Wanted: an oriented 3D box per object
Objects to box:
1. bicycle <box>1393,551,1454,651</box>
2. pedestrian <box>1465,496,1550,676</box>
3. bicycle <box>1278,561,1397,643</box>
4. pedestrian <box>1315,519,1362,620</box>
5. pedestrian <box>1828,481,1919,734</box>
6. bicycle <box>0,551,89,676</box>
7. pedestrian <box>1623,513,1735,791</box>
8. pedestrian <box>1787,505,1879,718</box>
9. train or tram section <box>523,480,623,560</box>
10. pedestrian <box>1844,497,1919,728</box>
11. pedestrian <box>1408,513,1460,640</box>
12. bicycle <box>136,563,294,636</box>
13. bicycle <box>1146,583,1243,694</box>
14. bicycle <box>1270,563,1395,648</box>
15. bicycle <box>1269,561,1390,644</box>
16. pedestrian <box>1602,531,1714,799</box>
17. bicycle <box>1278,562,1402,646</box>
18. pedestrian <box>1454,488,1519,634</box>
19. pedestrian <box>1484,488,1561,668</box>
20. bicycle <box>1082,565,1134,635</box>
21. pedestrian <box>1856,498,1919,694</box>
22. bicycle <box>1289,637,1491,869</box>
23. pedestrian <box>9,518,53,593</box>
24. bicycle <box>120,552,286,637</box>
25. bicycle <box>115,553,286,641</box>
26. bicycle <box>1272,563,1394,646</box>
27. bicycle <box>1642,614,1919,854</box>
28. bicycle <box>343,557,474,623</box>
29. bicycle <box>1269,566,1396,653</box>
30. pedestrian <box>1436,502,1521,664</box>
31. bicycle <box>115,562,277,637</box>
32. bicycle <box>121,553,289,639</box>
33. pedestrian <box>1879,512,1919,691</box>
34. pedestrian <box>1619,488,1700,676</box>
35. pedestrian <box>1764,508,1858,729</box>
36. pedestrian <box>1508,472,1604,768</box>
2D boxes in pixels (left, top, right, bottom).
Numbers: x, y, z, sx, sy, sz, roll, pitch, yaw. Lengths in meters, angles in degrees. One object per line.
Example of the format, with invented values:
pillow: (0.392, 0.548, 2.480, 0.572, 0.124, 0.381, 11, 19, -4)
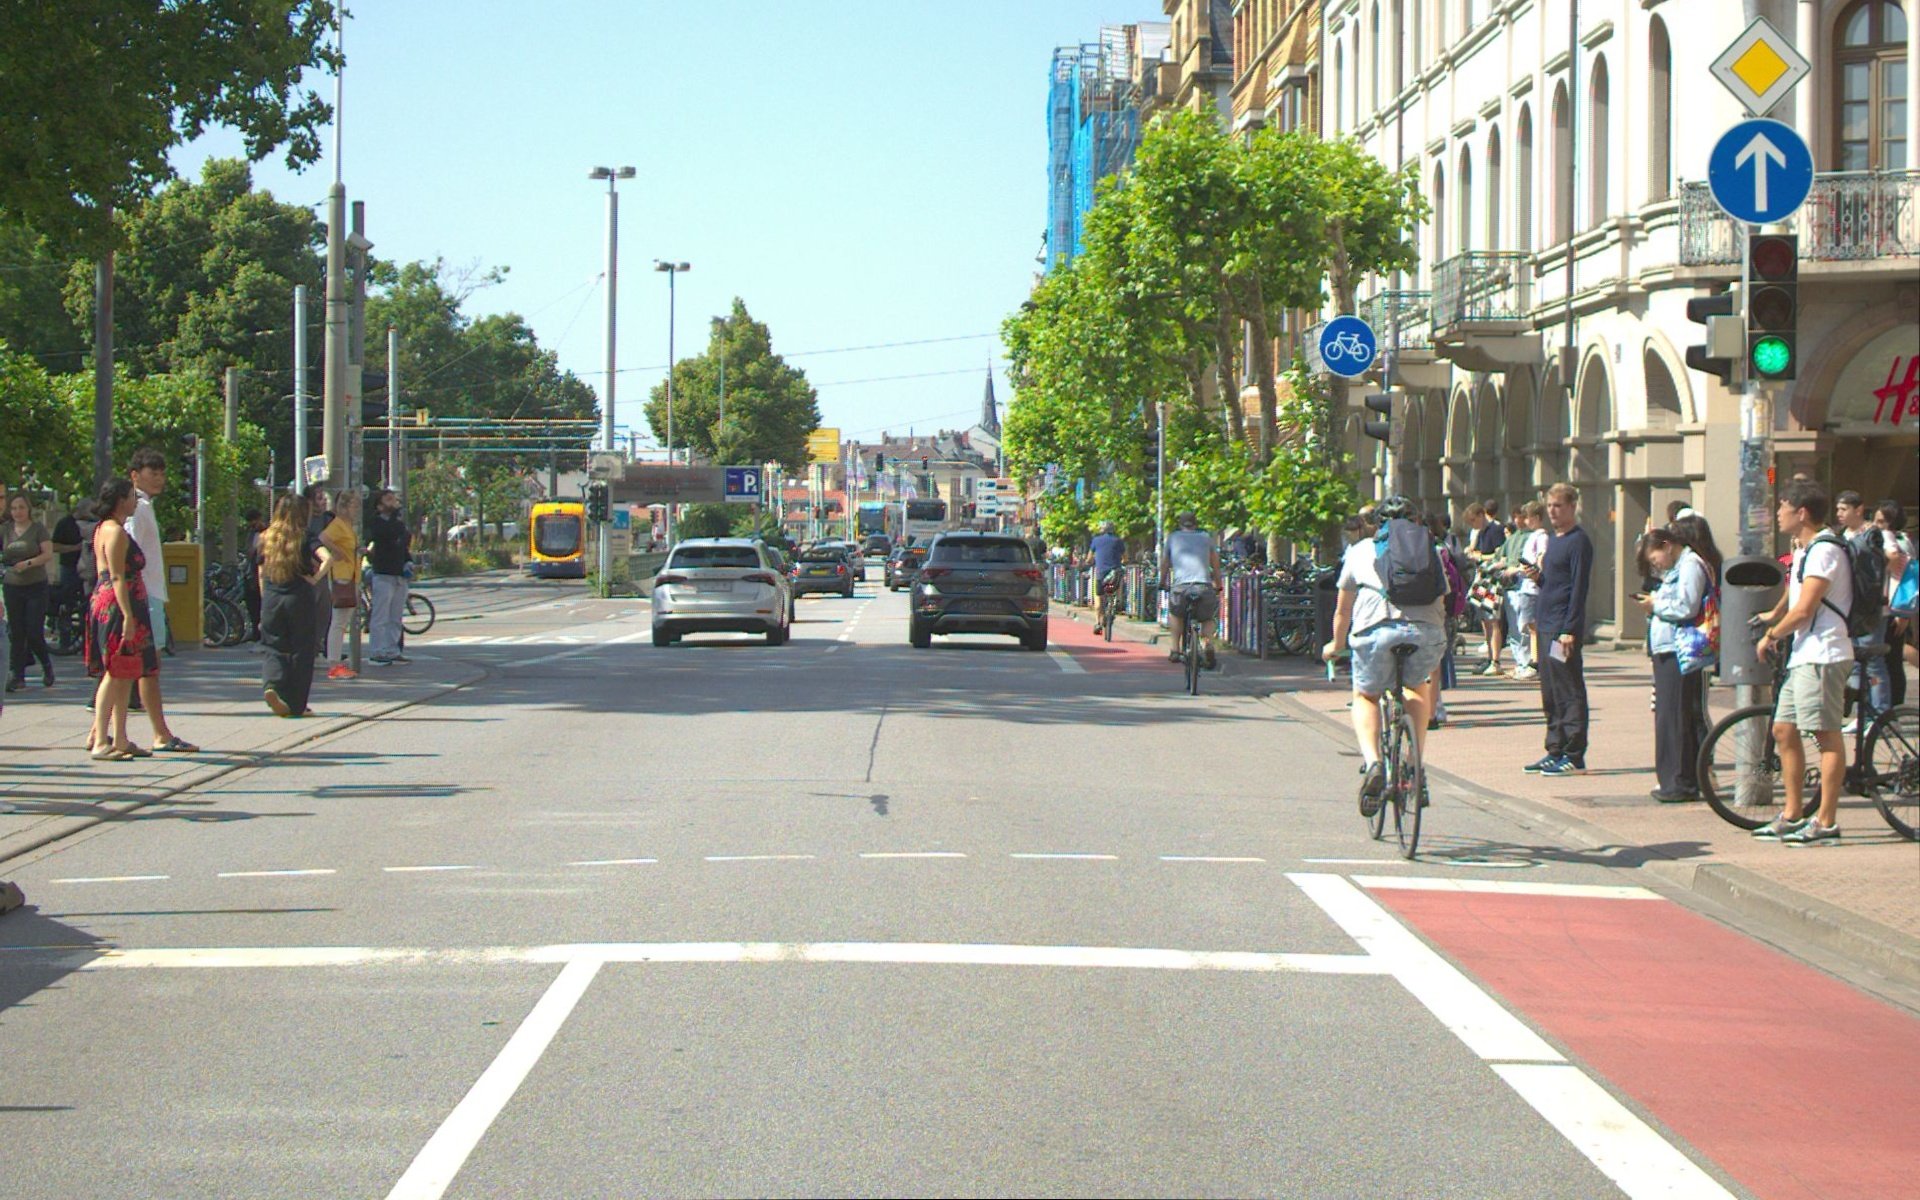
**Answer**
bicycle: (5.405, -0.003, 40.013, 0.400, 1.110, 1.424, 0, 2, 20)
pedestrian: (5.659, -0.146, 35.561, 0.610, 1.800, 0.678, -5, 1, -2)
bicycle: (4.662, 0.020, 42.445, 1.420, 0.976, 0.401, -1, 2, 0)
pedestrian: (6.258, -0.508, 56.895, 0.675, 1.659, 0.612, 1, 1, -2)
pedestrian: (6.677, 0.047, 25.058, 0.522, 1.817, 0.641, -1, 1, 0)
bicycle: (-8.073, 0.101, 29.258, 0.489, 1.025, 1.933, 1, 1, 12)
pedestrian: (4.271, 0.301, 20.442, 0.549, 1.625, 0.589, -1, 1, 2)
pedestrian: (6.659, 0.080, 26.244, 0.522, 1.603, 0.641, -1, 1, 0)
train or tram section: (-16.836, -3.491, 150.236, 2.613, 3.336, 11.002, 1, 1, 3)
pedestrian: (6.933, 0.089, 25.656, 0.522, 1.697, 0.536, -1, 1, 0)
pedestrian: (6.717, -0.340, 48.769, 0.628, 1.785, 0.612, 1, 1, -1)
bicycle: (-10.145, -0.008, 46.857, 2.081, 0.976, 0.685, 0, 1, -12)
bicycle: (2.297, 0.361, 33.911, 0.774, 1.002, 2.330, 0, 2, -1)
bicycle: (4.392, 0.059, 40.600, 1.420, 0.976, 0.445, -1, 2, 0)
bicycle: (4.512, 0.030, 42.010, 1.420, 0.976, 0.445, -1, 2, 0)
pedestrian: (4.016, 0.367, 19.809, 0.523, 1.516, 0.641, -1, 1, 2)
bicycle: (4.537, 0.049, 41.062, 1.420, 0.976, 0.445, -1, 2, 0)
pedestrian: (6.514, -0.488, 42.566, 0.675, 1.785, 0.612, 1, 1, -1)
pedestrian: (5.695, -0.228, 34.831, 0.610, 1.800, 0.678, 1, 1, -2)
bicycle: (2.195, -0.007, 51.153, 0.647, 0.994, 2.031, 1, 1, -1)
pedestrian: (8.743, -0.039, 31.951, 0.610, 1.800, 0.678, 1, 1, -2)
bicycle: (2.034, 0.701, 16.518, 0.630, 0.976, 2.089, 2, 1, -2)
pedestrian: (-21.299, -1.016, 78.829, 0.710, 1.701, 0.655, 1, 1, 15)
bicycle: (-9.816, -0.079, 44.629, 2.081, 1.086, 0.685, 0, 1, -12)
bicycle: (-9.561, -0.044, 43.304, 2.081, 1.086, 0.685, 0, 1, -12)
bicycle: (4.496, 0.050, 41.517, 1.420, 0.976, 0.445, -1, 2, 0)
bicycle: (4.264, 0.633, 16.956, 0.600, 1.078, 1.839, -3, 2, -35)
bicycle: (-8.793, -0.156, 54.785, 1.961, 1.022, 0.679, 0, 1, -20)
bicycle: (4.307, 0.110, 39.778, 1.420, 0.976, 0.445, -1, 2, 0)
pedestrian: (5.537, -0.189, 36.721, 0.610, 1.699, 0.678, -1, 1, -29)
bicycle: (-10.134, -0.016, 45.632, 2.081, 0.976, 0.685, 0, 1, -12)
bicycle: (-9.652, -0.057, 43.979, 2.081, 1.086, 0.685, 0, 1, -12)
pedestrian: (8.926, 0.008, 31.791, 0.610, 1.613, 0.678, 1, 3, -2)
pedestrian: (6.882, -0.179, 33.851, 0.610, 1.817, 0.678, 1, 1, -2)
pedestrian: (6.288, 0.134, 25.415, 0.522, 1.606, 0.641, -1, 1, 0)
pedestrian: (3.865, 0.126, 22.314, 0.523, 1.891, 0.641, -1, 1, 2)
